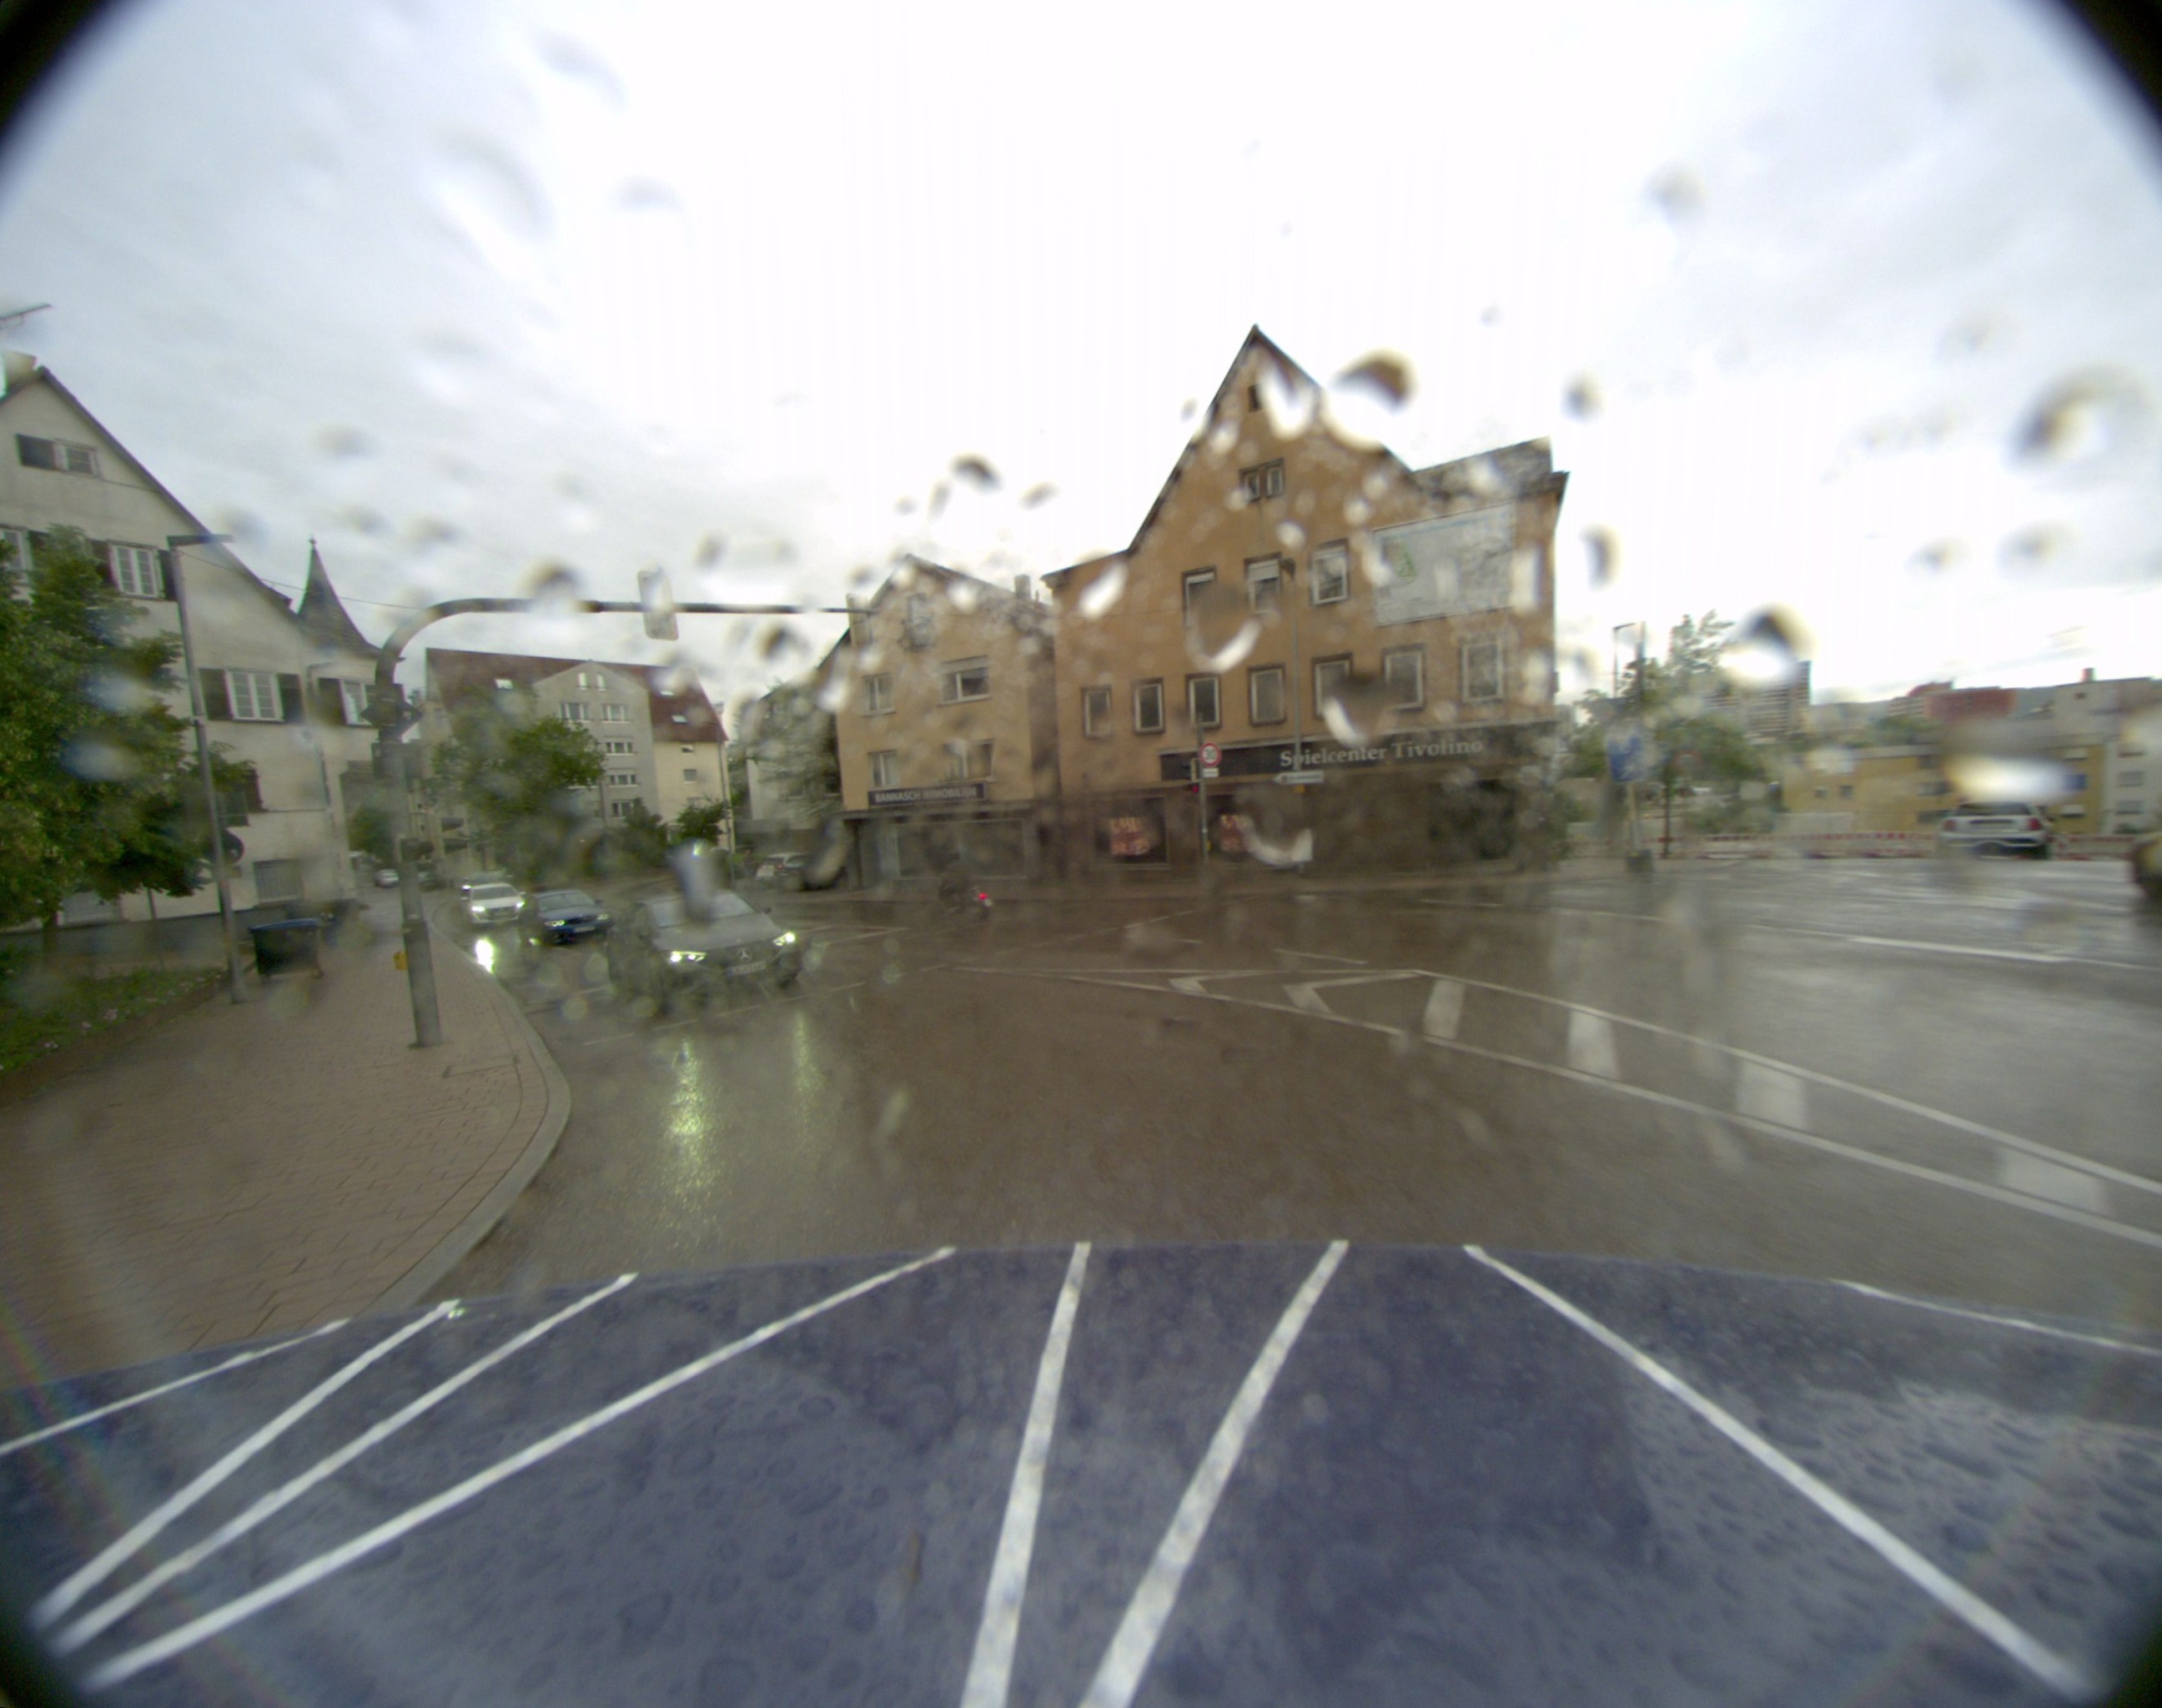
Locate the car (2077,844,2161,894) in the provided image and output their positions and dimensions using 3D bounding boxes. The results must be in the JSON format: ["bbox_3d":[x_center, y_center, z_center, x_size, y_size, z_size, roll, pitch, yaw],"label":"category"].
[{"bbox_3d":[38.724,0.455,26.643,4.743,1.579,1.831,-3,0,6],"label":"car"}]

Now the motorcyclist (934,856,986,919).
[{"bbox_3d":[-2.790,0.765,17.586,0.666,1.347,0.812,-3,5,35],"label":"motorcyclist"}]

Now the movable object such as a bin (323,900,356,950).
[{"bbox_3d":[-21.846,2.081,22.377,0.643,1.433,0.414,-3,0,22],"label":"movable object such as a bin"}]

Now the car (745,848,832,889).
[{"bbox_3d":[-14.325,0.685,37.436,1.996,1.620,3.648,-2,4,19],"label":"car"}]

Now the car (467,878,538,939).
[{"bbox_3d":[-21.753,1.960,28.525,1.817,1.558,3.986,-6,8,-39],"label":"car"}]

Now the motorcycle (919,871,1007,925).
[{"bbox_3d":[-2.744,1.011,17.589,1.911,1.125,0.772,-3,3,35],"label":"motorcycle"}]

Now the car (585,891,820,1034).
[{"bbox_3d":[-6.004,1.474,11.790,2.003,1.485,4.302,-7,4,-43],"label":"car"}]

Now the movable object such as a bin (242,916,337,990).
[{"bbox_3d":[-17.277,2.121,16.631,1.160,1.306,1.183,-7,5,-38],"label":"movable object such as a bin"}]

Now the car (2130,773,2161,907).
[{"bbox_3d":[12.542,-0.036,7.124,1.995,1.530,4.419,-3,4,38],"label":"car"}]

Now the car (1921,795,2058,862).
[{"bbox_3d":[22.397,-0.624,18.867,4.007,1.422,1.995,-2,0,-42],"label":"car"}]

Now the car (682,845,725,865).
[{"bbox_3d":[-32.151,0.113,64.839,2.000,1.564,3.997,-3,0,-8],"label":"car"}]

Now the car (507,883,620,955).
[{"bbox_3d":[-14.899,1.765,21.788,1.777,1.525,4.365,-8,6,-44],"label":"car"}]

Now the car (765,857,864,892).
[{"bbox_3d":[-12.122,0.879,34.841,1.895,1.445,4.007,0,1,30],"label":"car"}]
